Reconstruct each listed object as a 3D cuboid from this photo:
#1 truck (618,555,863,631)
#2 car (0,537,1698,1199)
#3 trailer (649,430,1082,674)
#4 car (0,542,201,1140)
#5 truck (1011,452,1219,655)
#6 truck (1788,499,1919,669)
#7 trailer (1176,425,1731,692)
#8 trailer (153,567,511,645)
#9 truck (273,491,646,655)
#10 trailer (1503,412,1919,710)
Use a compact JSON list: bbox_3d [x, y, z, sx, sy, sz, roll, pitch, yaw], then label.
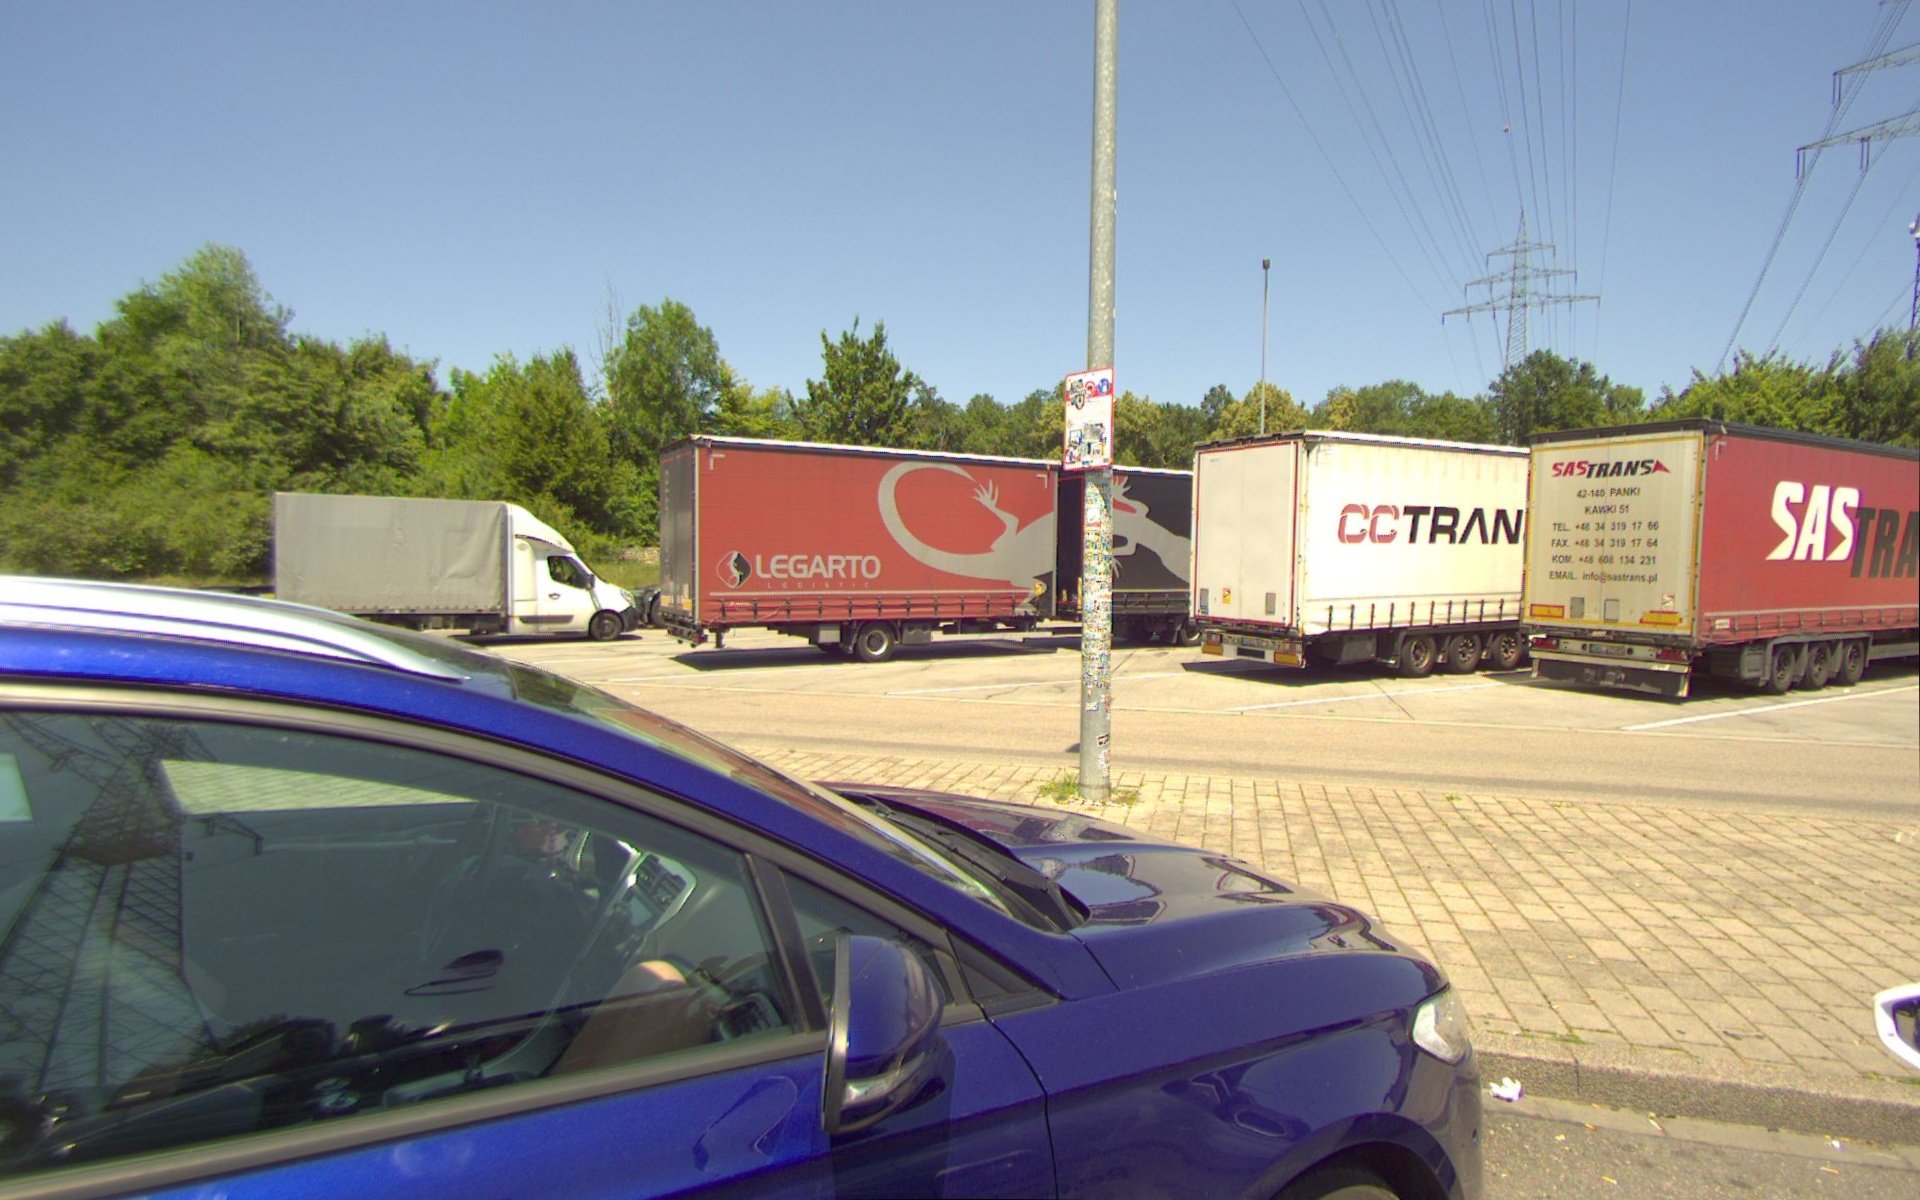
[{"bbox_3d":[-6.324,-0.232,29.279,6.733,2.041,1.987,-1,1,-26],"label":"truck"},{"bbox_3d":[-1.011,0.678,1.498,4.444,1.511,1.859,0,2,-32],"label":"car"},{"bbox_3d":[-1.720,-0.903,20.334,8.376,4.141,2.722,-1,3,-30],"label":"trailer"},{"bbox_3d":[-4.588,0.601,2.231,4.444,1.520,1.762,0,2,-32],"label":"car"},{"bbox_3d":[3.593,-1.069,23.455,3.947,4.298,2.723,-1,3,-30],"label":"truck"},{"bbox_3d":[21.233,-0.399,22.008,5.829,3.373,2.837,-1,3,-30],"label":"truck"},{"bbox_3d":[10.610,-0.804,20.342,13.962,4.141,2.782,-1,3,-30],"label":"trailer"},{"bbox_3d":[-15.141,0.056,24.898,7.204,1.711,2.249,-1,3,-29],"label":"trailer"},{"bbox_3d":[-11.166,-0.625,23.029,7.204,3.279,2.727,-1,3,-29],"label":"truck"},{"bbox_3d":[15.630,-0.697,18.731,13.962,4.141,2.777,-1,3,-30],"label":"trailer"}]
